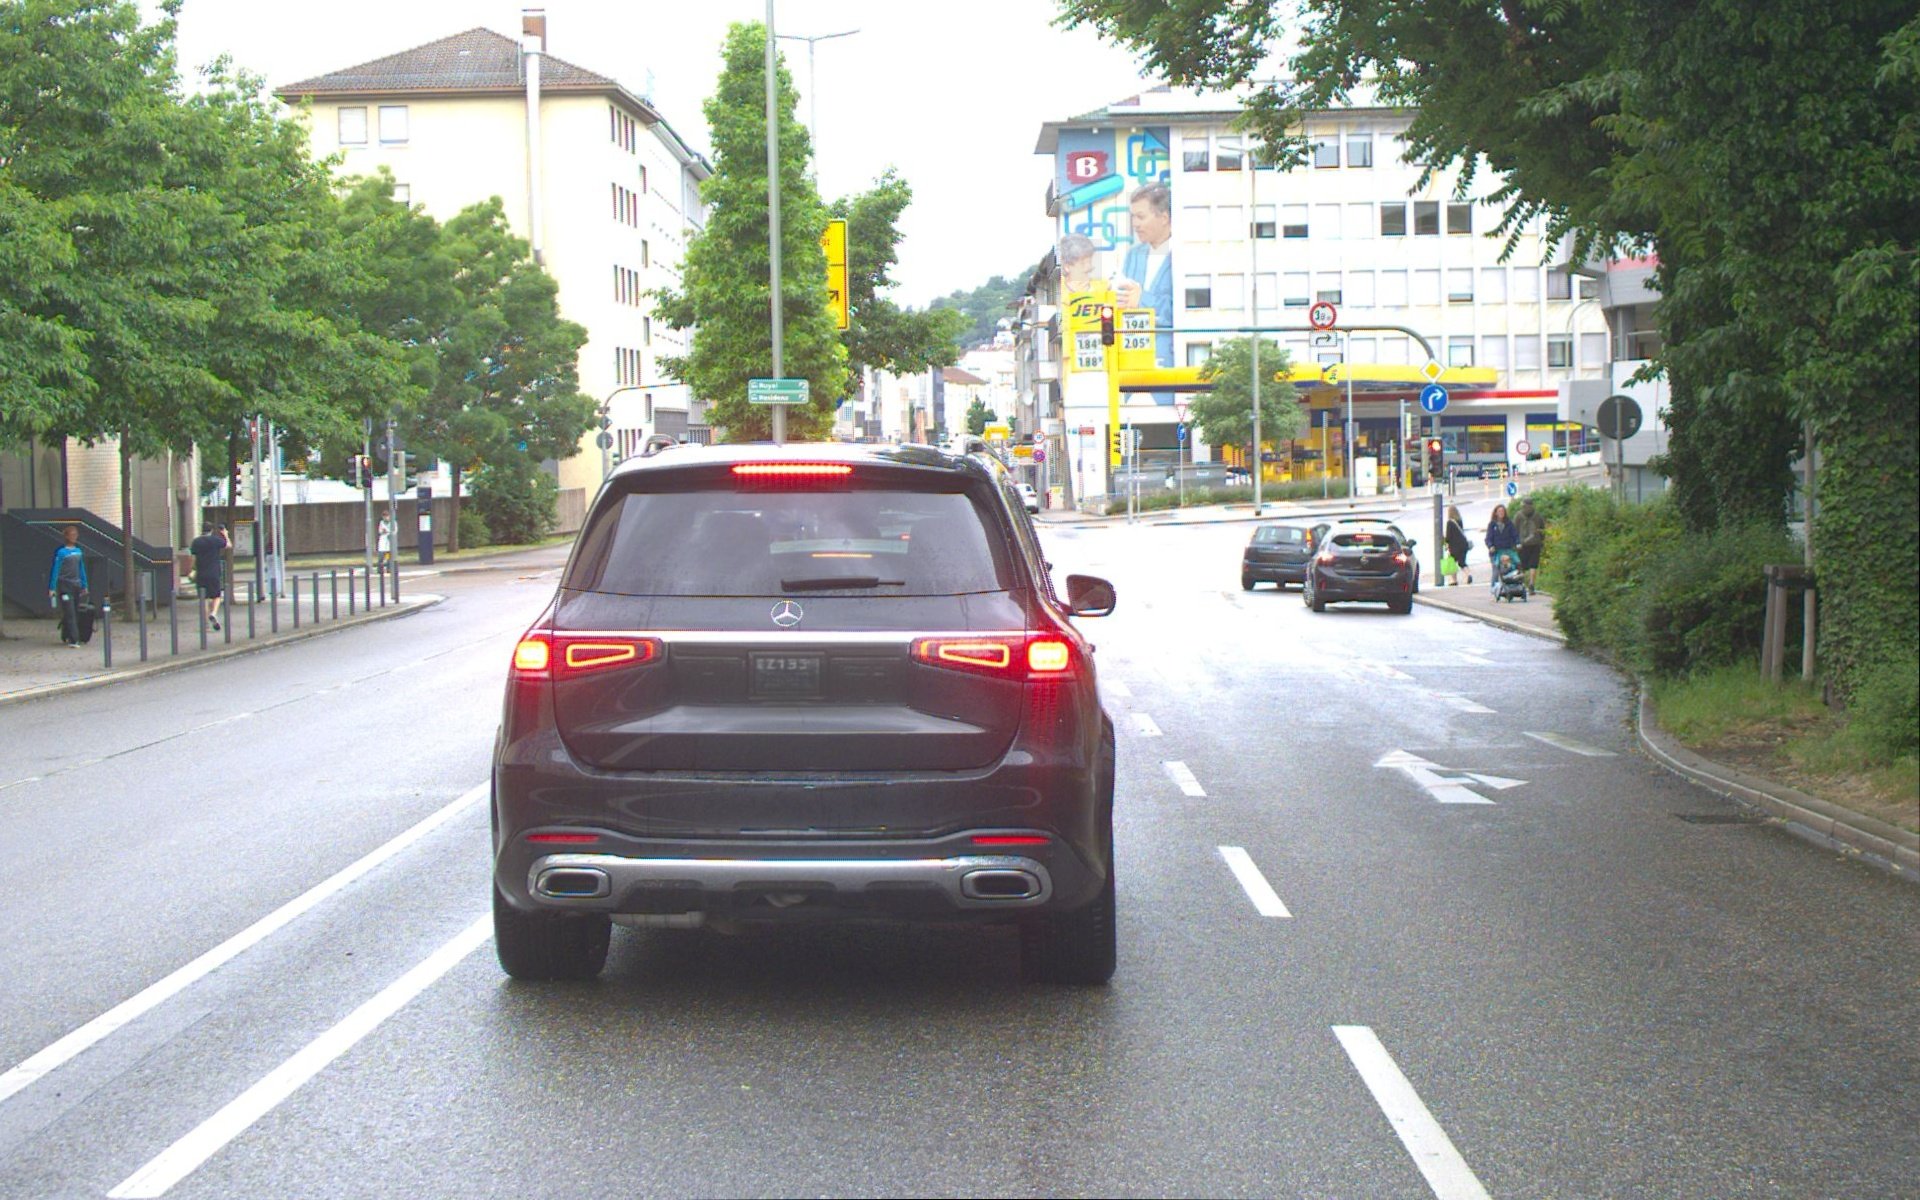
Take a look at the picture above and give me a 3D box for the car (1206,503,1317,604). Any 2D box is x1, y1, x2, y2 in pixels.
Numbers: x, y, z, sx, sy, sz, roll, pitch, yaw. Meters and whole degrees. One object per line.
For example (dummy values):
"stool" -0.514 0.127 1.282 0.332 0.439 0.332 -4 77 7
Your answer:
"car" 6.266 -0.963 71.844 1.993 2.007 4.000 1 1 1

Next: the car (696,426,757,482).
"car" -8.638 -5.405 127.583 1.993 1.868 5.142 1 1 -1

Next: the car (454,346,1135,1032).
"car" -0.521 0.246 12.242 1.993 2.007 4.000 1 1 -1

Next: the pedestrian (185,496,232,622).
"pedestrian" -12.138 -0.666 55.551 0.587 2.007 0.749 1 0 -1

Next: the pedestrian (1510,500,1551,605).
"pedestrian" 10.606 -0.883 63.878 0.620 1.929 0.610 1 0 -1

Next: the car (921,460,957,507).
"car" -1.222 -6.683 196.344 1.993 2.005 4.004 1 12 -1

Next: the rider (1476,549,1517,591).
"rider" 9.581 -0.532 61.384 0.694 0.737 0.632 1 0 8

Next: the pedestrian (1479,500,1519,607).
"pedestrian" 9.739 -0.844 62.138 0.662 1.911 0.728 1 0 8

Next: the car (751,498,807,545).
"car" -7.954 -3.433 150.853 1.993 2.007 4.001 1 1 -9

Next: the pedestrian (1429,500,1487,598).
"pedestrian" 10.350 -1.056 71.461 1.025 2.007 0.999 1 1 -1

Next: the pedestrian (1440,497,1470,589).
"pedestrian" 10.413 -1.194 72.297 0.519 1.904 0.556 1 0 1

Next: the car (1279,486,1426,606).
"car" 6.800 -0.962 59.930 1.993 2.007 4.001 0 2 -1

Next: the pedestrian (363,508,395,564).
"pedestrian" -15.315 -1.677 90.636 0.711 1.457 0.598 1 0 -1

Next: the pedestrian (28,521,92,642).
"pedestrian" -12.961 -0.260 49.529 0.688 1.720 0.754 1 -2 -1

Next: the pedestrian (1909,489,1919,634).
"pedestrian" 10.379 -0.403 36.382 0.551 1.527 0.488 1 0 7
